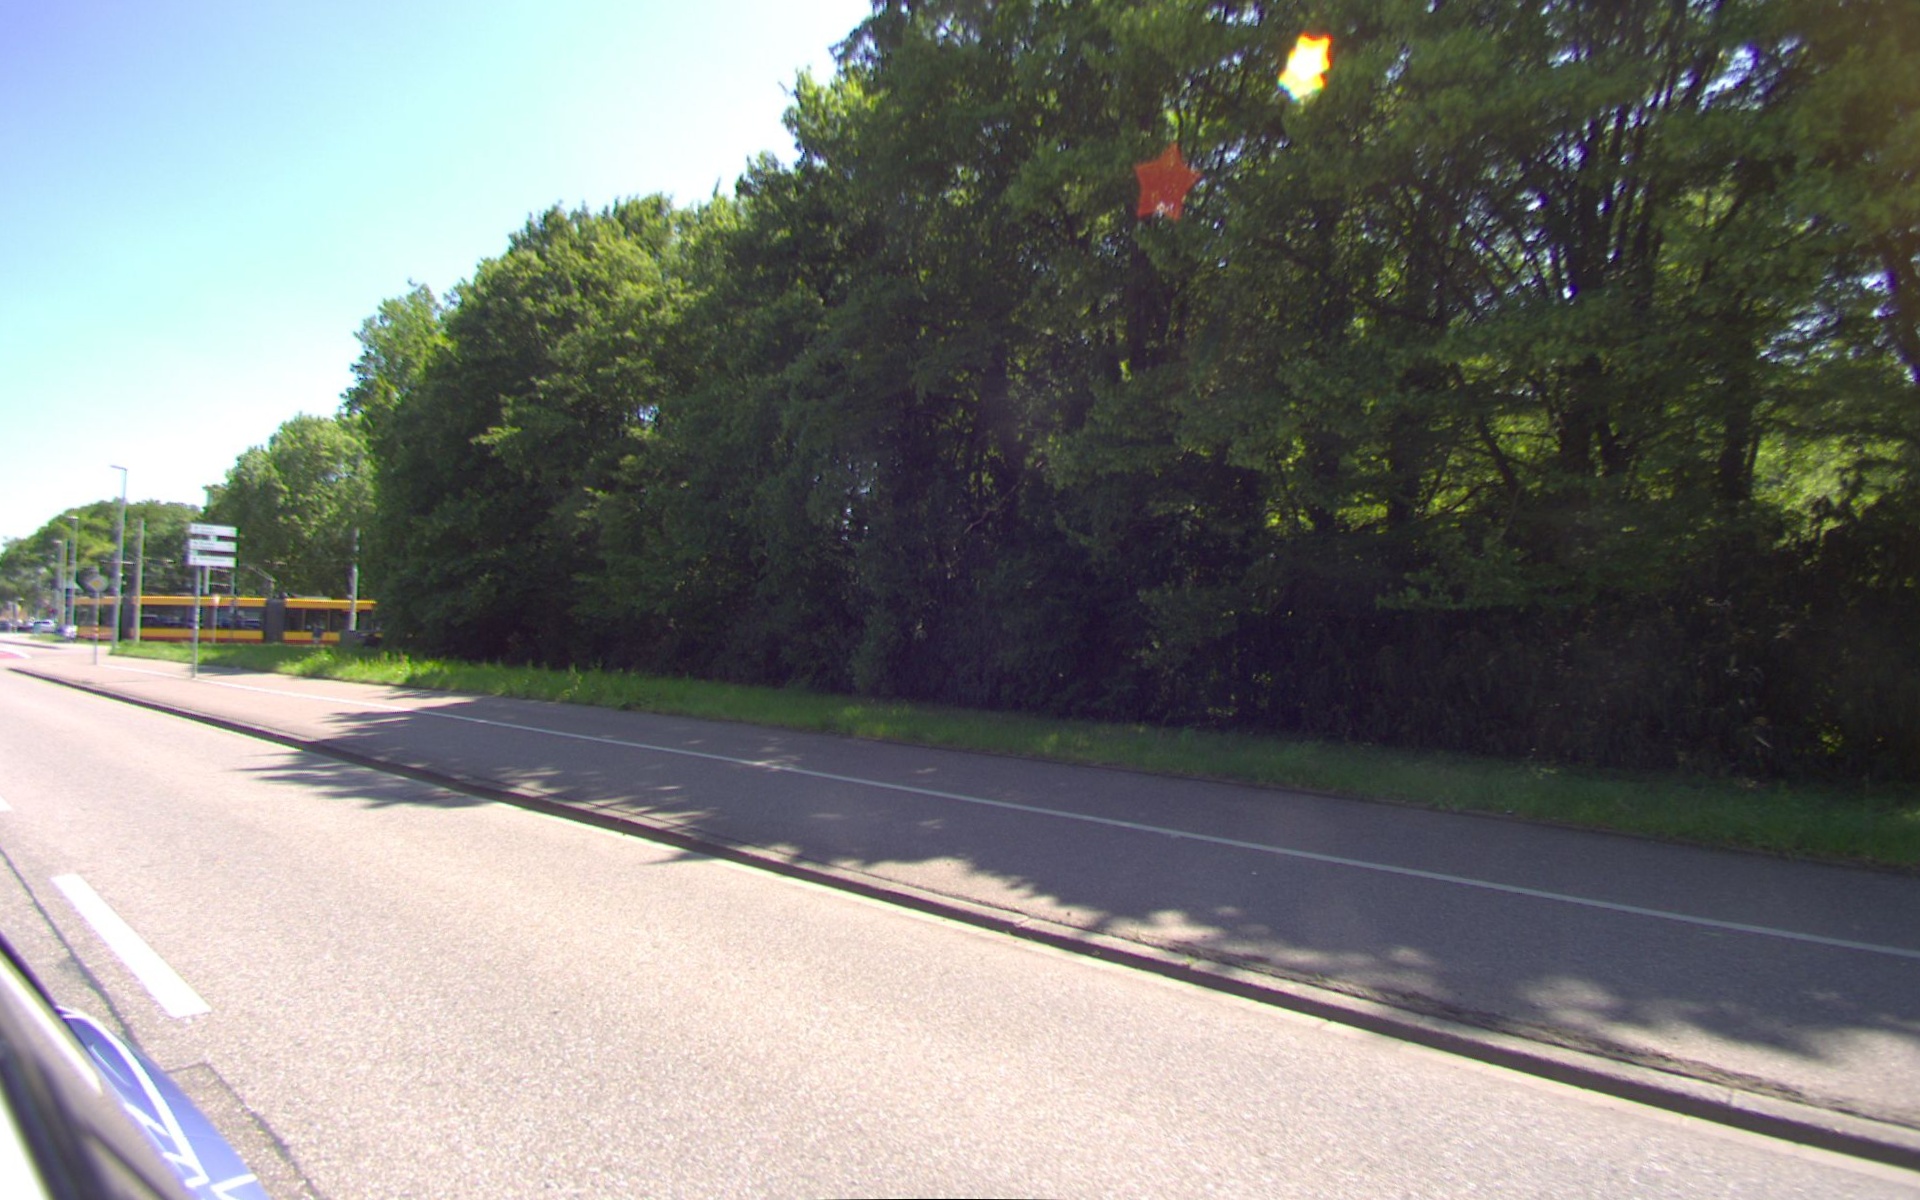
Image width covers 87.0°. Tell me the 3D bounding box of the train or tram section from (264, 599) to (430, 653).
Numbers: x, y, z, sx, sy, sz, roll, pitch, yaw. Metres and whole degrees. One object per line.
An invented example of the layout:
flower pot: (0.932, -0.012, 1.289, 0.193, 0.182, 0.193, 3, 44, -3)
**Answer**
train or tram section: (-41.428, 1.773, 68.765, 9.192, 3.492, 2.791, 1, -2, -17)

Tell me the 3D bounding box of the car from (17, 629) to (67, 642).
car: (-101.598, 3.894, 112.020, 3.743, 1.401, 1.637, 1, -1, -24)

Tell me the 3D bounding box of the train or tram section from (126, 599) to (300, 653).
train or tram section: (-50.371, 1.739, 68.291, 10.730, 3.492, 2.644, 0, -2, 9)

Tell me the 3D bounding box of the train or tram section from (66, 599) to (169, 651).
train or tram section: (-60.018, 1.767, 71.967, 10.823, 3.492, 2.550, -1, -2, 34)
